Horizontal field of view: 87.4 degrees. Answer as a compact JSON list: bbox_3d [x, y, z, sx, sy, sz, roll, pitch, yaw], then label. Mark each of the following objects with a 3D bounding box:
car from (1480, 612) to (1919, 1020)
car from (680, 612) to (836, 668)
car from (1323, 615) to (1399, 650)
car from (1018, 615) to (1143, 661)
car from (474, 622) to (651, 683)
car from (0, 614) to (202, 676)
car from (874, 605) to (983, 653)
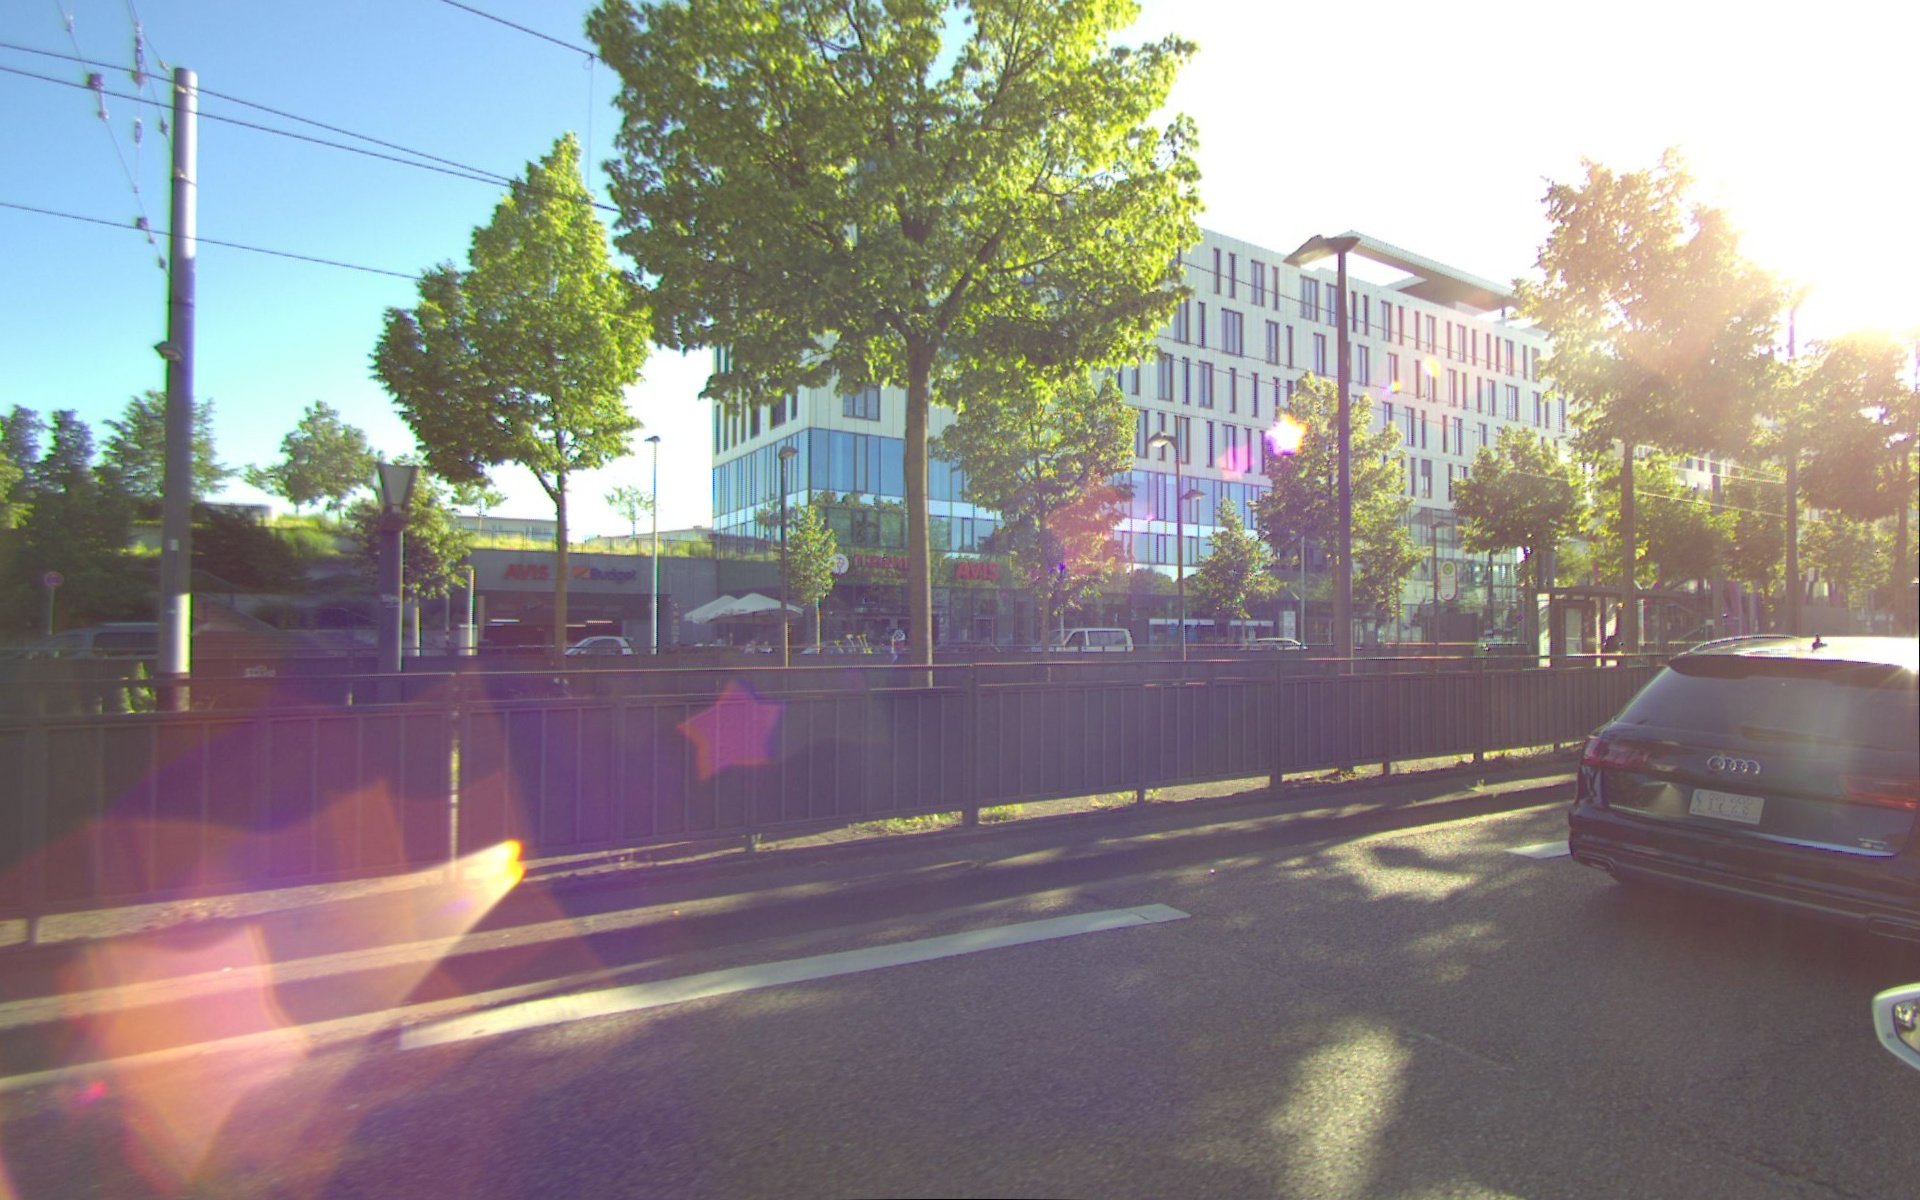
[{"bbox_3d":[5.328,0.850,5.653,5.026,1.500,1.943,1,-1,-31],"label":"car"},{"bbox_3d":[-6.539,1.296,32.617,4.560,1.694,1.983,2,-1,-32],"label":"car"},{"bbox_3d":[24.230,1.976,60.726,4.512,2.040,1.983,2,-1,-32],"label":"car"},{"bbox_3d":[4.854,1.529,40.356,4.798,1.737,1.983,2,-1,-32],"label":"car"},{"bbox_3d":[-11.666,1.526,29.538,4.560,1.630,1.983,2,-1,-32],"label":"car"},{"bbox_3d":[-20.779,1.051,23.587,4.560,1.343,1.902,2,-1,-32],"label":"car"},{"bbox_3d":[-1.395,1.304,45.457,4.512,2.040,1.983,2,0,-32],"label":"car"}]
